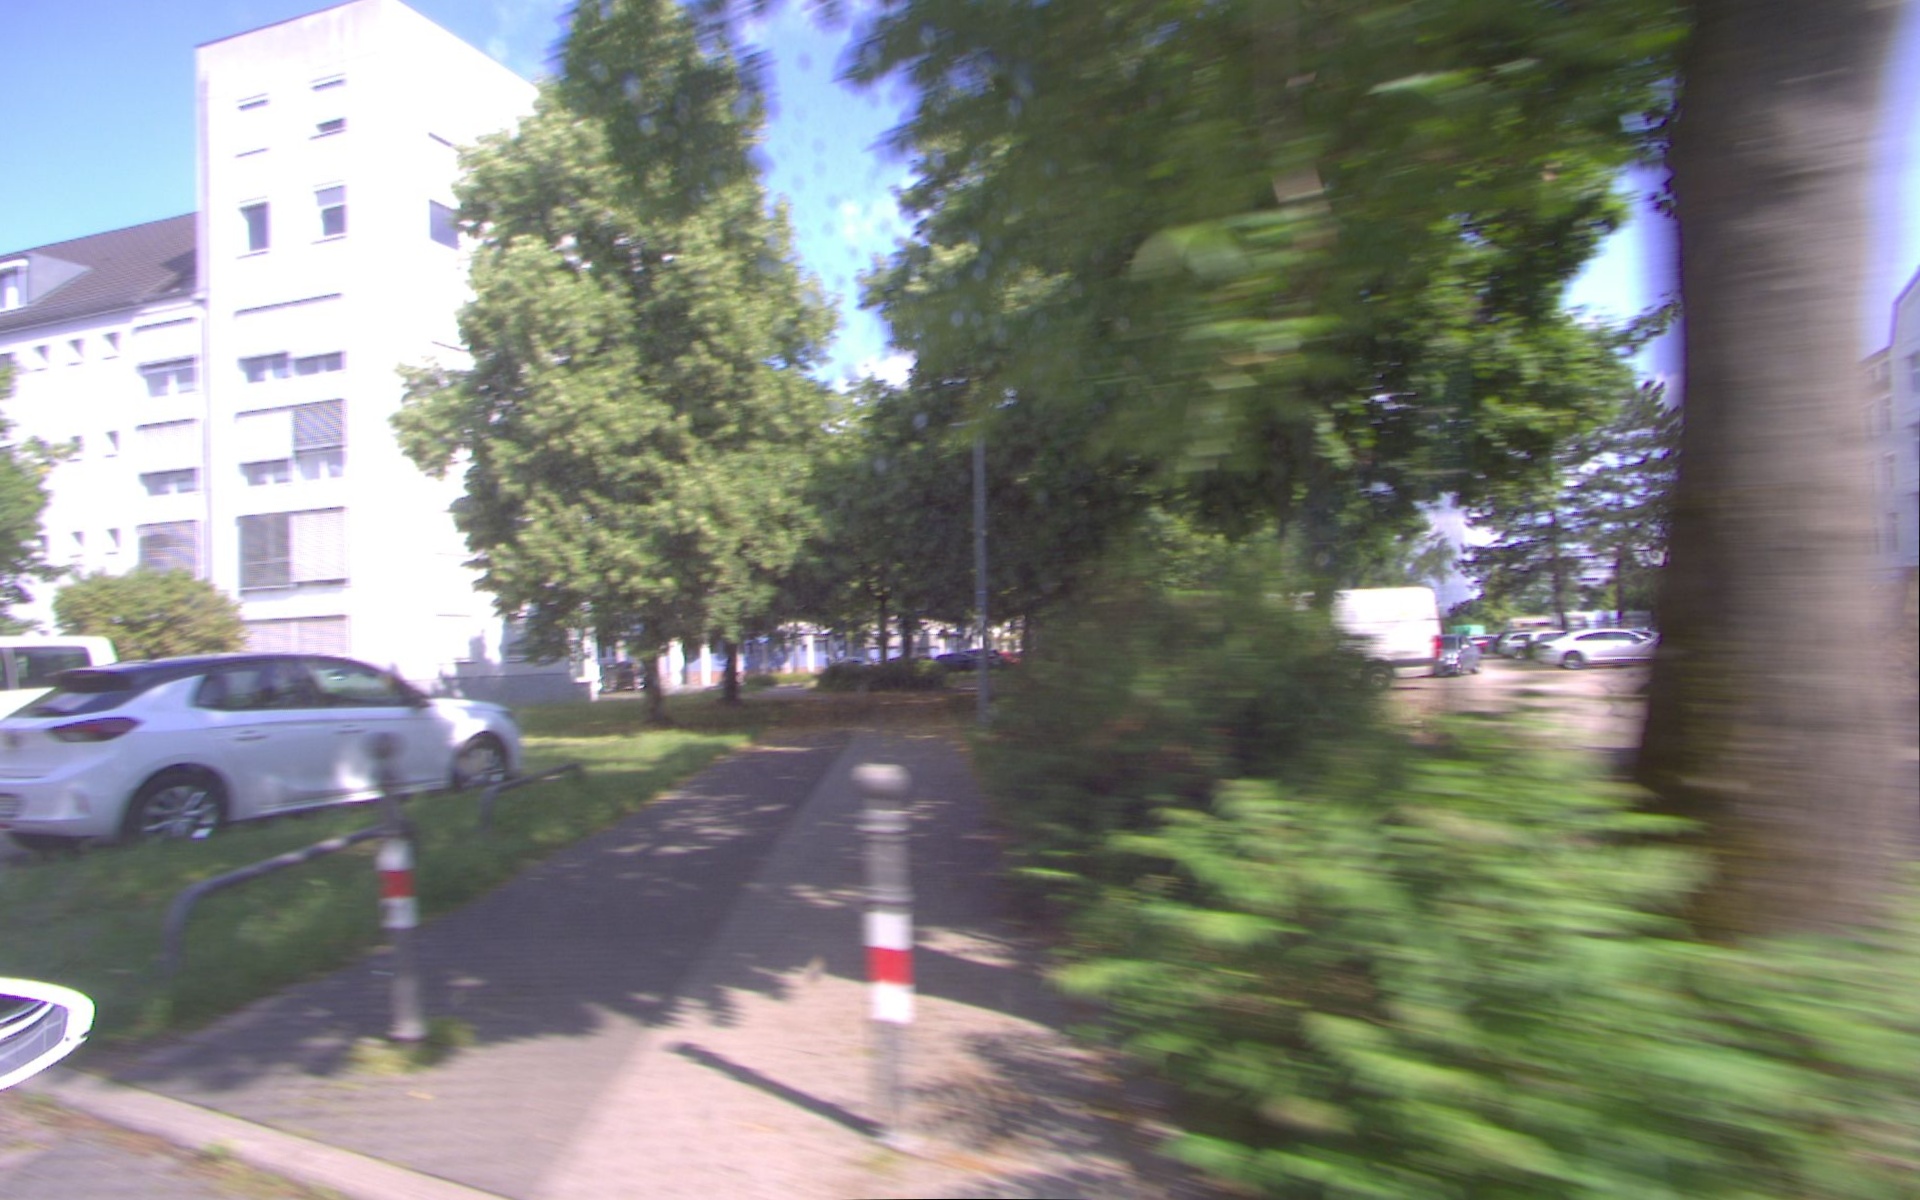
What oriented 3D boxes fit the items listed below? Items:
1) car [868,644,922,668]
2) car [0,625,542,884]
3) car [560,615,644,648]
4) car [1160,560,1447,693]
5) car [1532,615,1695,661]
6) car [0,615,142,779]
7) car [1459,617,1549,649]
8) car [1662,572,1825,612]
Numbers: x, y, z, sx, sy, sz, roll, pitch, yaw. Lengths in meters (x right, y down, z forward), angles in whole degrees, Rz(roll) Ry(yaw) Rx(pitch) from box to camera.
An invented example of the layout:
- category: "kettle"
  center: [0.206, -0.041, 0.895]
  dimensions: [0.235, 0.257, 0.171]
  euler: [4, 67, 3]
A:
- category: "car"
  center: [-4.380, 3.806, 68.224]
  dimensions: [1.815, 1.446, 4.170]
  euler: [2, -1, 27]
- category: "car"
  center: [-5.672, 1.023, 8.395]
  dimensions: [1.729, 1.439, 3.904]
  euler: [1, 1, 23]
- category: "car"
  center: [-17.682, 1.534, 49.621]
  dimensions: [1.730, 1.439, 3.903]
  euler: [1, 1, 25]
- category: "car"
  center: [8.916, 0.637, 26.641]
  dimensions: [6.841, 3.089, 1.999]
  euler: [3, 1, 8]
- category: "car"
  center: [23.925, 1.370, 36.890]
  dimensions: [4.789, 1.446, 1.839]
  euler: [2, -1, 26]
- category: "car"
  center: [-13.101, 1.221, 11.838]
  dimensions: [1.968, 1.990, 4.938]
  euler: [-1, 0, 25]
- category: "car"
  center: [31.152, 1.887, 57.457]
  dimensions: [4.209, 1.607, 1.842]
  euler: [2, -1, 18]
- category: "car"
  center: [31.185, -0.326, 40.068]
  dimensions: [4.789, 1.446, 1.839]
  euler: [2, -1, 26]
